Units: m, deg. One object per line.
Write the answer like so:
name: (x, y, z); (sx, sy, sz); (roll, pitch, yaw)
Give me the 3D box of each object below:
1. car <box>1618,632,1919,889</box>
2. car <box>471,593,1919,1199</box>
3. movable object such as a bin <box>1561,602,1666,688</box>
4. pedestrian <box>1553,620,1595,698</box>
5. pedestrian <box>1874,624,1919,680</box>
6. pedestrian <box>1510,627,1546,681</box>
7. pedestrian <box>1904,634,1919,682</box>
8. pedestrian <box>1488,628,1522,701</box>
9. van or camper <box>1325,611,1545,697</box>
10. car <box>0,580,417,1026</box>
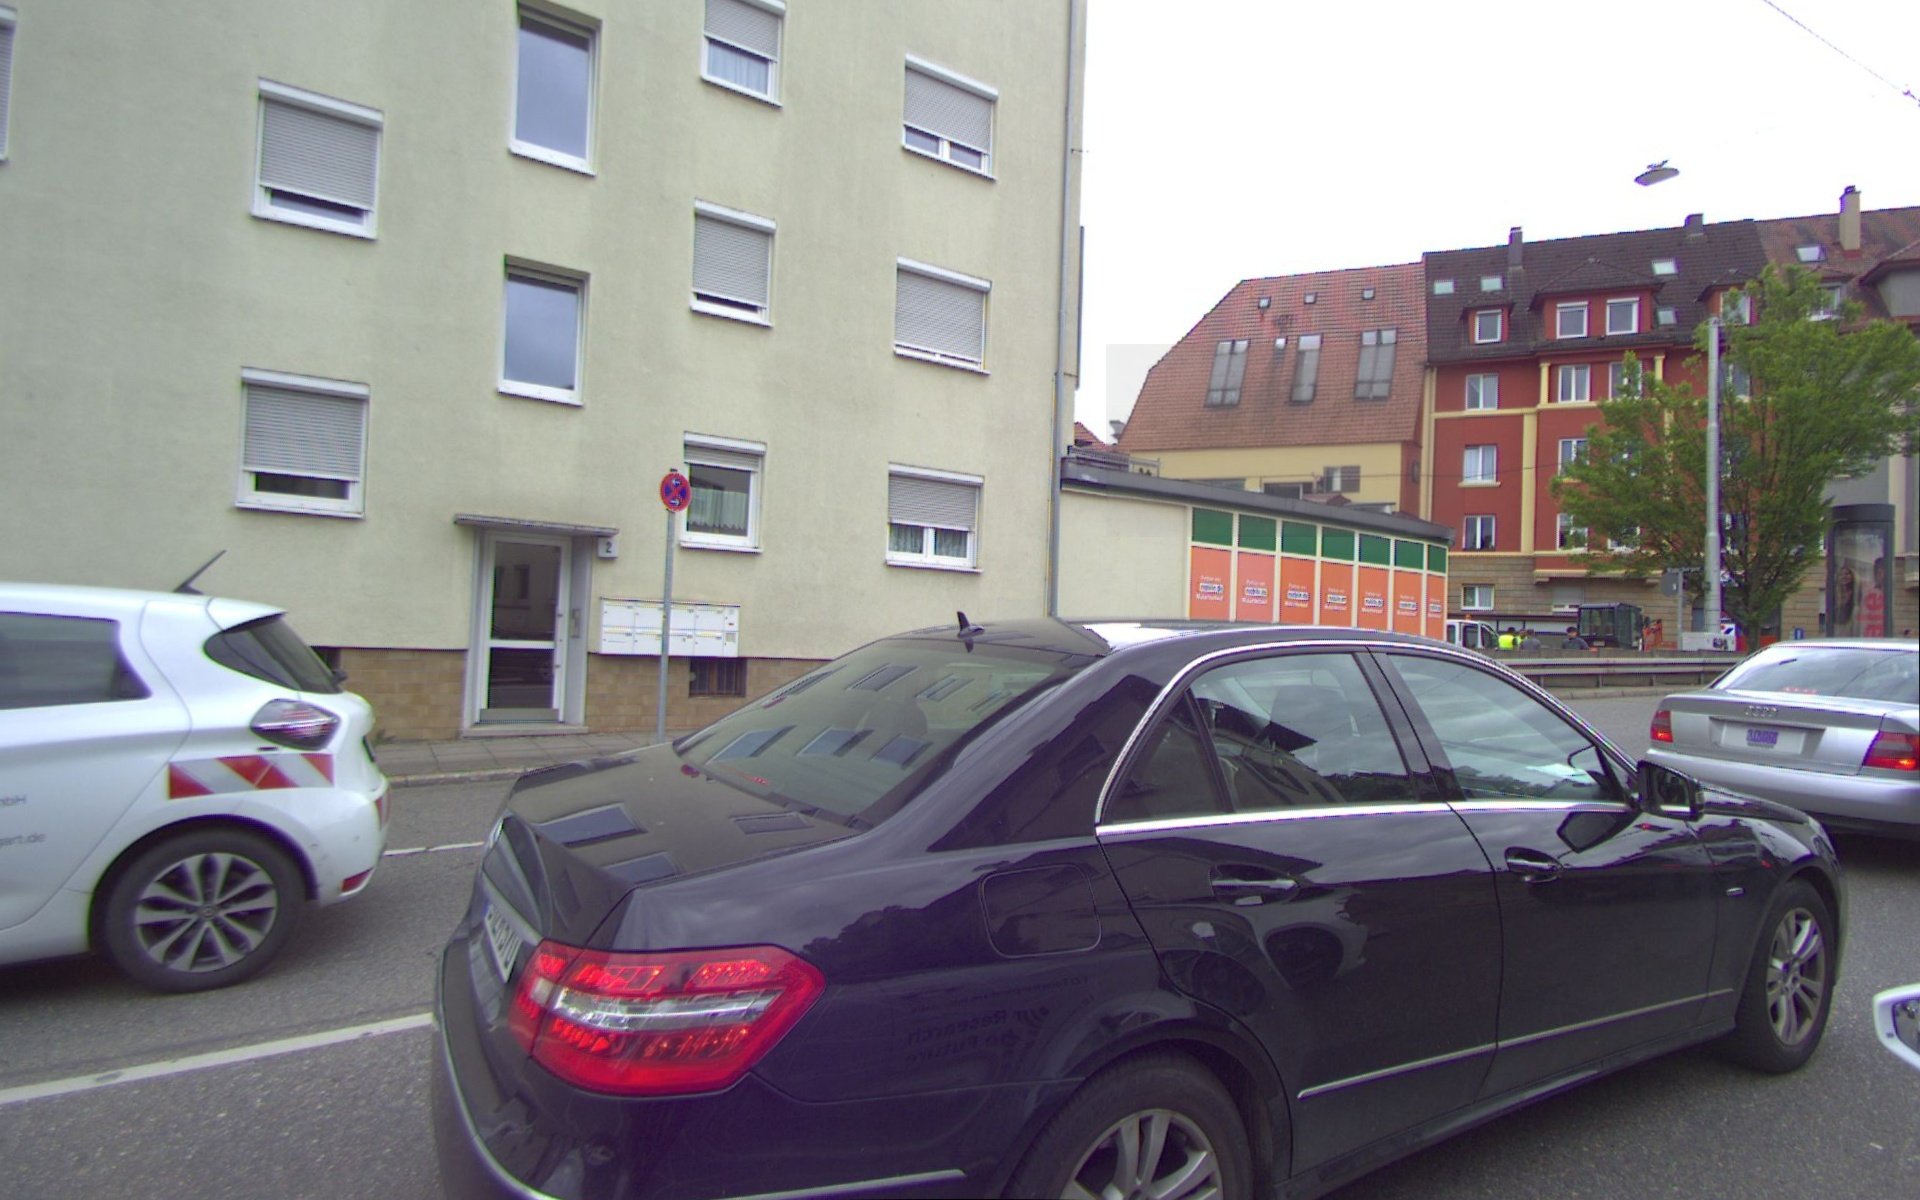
car: (6.704, 0.930, 7.084); (4.073, 1.383, 1.623); (1, -2, -26)
car: (1.080, 0.779, 3.389); (4.785, 1.447, 1.984); (1, -2, -30)
movable object such as a bin: (16.557, 1.109, 25.388); (3.510, 2.040, 1.363); (2, -2, -42)
pedestrian: (13.417, 1.275, 21.955); (0.680, 1.658, 0.775); (-1, -2, 40)
pedestrian: (26.731, 1.479, 28.583); (0.724, 1.567, 0.794); (0, -1, -3)
pedestrian: (14.806, 1.398, 26.199); (0.613, 1.381, 0.602); (0, -1, 4)
pedestrian: (27.495, 1.638, 28.660); (0.572, 1.356, 0.576); (0, -1, 5)
pedestrian: (15.501, 1.812, 28.589); (0.811, 2.040, 0.679); (0, 0, 25)
van or camper: (14.539, 1.574, 31.025); (5.894, 2.369, 2.686); (0, -1, 26)
car: (-4.423, 0.713, 3.830); (4.038, 1.541, 1.761); (2, -3, -32)
